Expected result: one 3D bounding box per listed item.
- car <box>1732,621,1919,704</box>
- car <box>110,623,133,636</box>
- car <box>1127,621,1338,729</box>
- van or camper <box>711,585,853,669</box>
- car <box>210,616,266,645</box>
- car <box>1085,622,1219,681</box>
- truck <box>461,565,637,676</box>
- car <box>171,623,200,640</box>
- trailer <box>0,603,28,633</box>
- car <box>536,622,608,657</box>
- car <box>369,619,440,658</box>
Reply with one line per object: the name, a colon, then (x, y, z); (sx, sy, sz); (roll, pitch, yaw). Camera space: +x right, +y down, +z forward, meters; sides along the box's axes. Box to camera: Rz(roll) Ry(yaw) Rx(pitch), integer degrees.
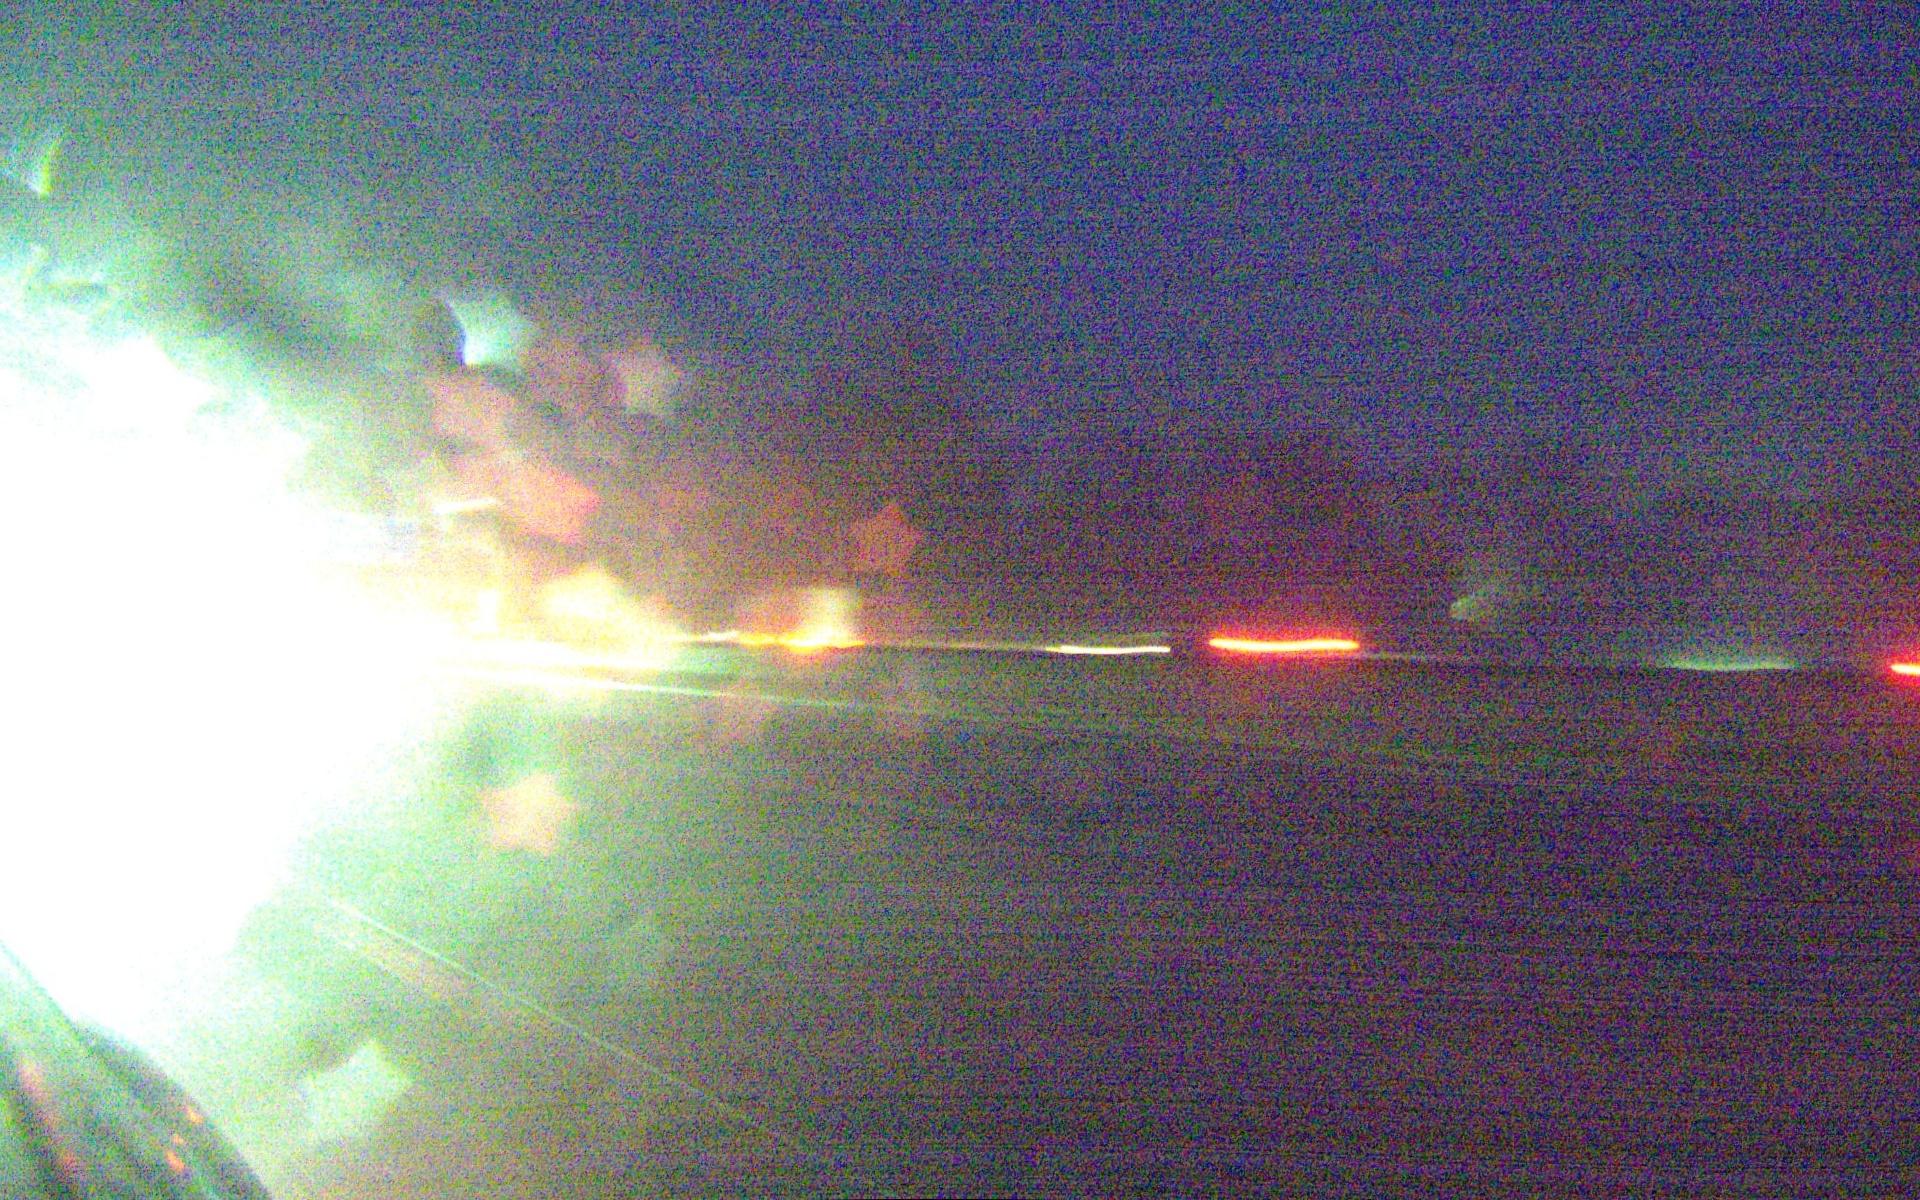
car: (19.993, 1.358, 22.931); (3.885, 1.685, 1.744); (-1, 0, 41)
car: (-110.563, 3.922, 133.456); (3.998, 1.584, 1.781); (-1, 0, 41)
car: (5.781, 1.505, 21.689); (3.998, 2.029, 1.772); (-1, 0, 41)
van or camper: (-8.672, 1.220, 48.606); (7.676, 3.729, 2.488); (-1, 0, 41)
car: (-50.684, 2.074, 71.005); (5.267, 1.904, 2.052); (-1, 0, 41)
car: (5.443, 1.415, 28.895); (3.460, 1.512, 1.527); (-1, 0, 41)
truck: (-27.113, 1.258, 65.830); (17.295, 6.460, 3.189); (-1, 0, 41)
car: (-83.185, 3.387, 108.648); (3.998, 1.702, 1.743); (-1, 0, 41)
trailer: (-168.478, 3.110, 179.060); (14.794, 5.065, 3.749); (-1, 0, 41)
car: (-19.692, 1.953, 51.275); (4.203, 1.640, 1.659); (-1, 0, 41)
car: (-28.105, 1.897, 51.122); (4.754, 1.812, 1.647); (-1, 0, 41)
